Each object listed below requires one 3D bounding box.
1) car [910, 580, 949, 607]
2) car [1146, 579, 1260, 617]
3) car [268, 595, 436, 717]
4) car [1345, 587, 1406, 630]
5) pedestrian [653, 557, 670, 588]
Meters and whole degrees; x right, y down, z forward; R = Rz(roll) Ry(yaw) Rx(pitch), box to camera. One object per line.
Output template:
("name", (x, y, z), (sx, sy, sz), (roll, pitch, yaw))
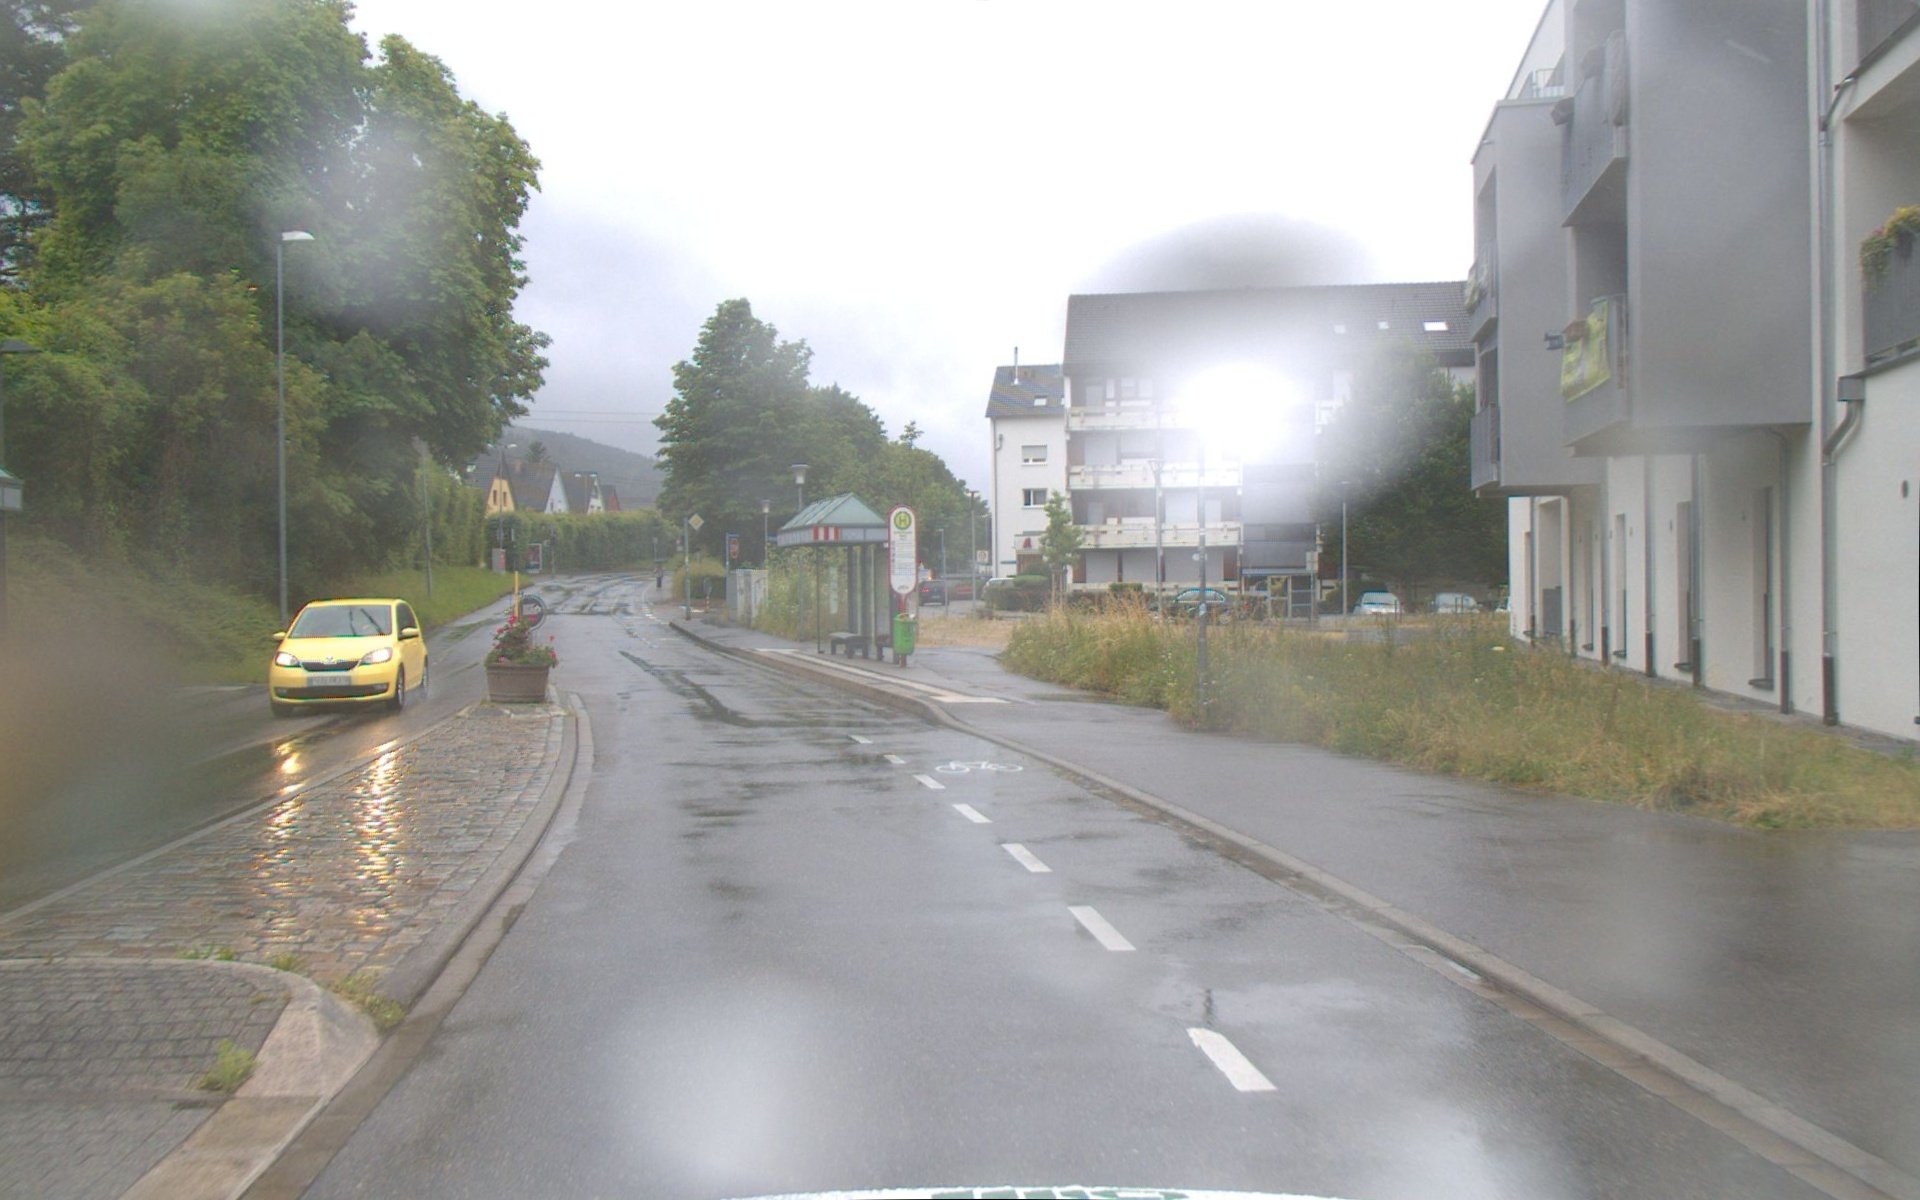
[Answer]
("car", (-1.787, -0.408, 96.229), (1.658, 1.463, 3.603), (0, 2, -11))
("car", (9.875, -0.093, 67.478), (4.503, 1.411, 1.948), (1, 1, 6))
("car", (-8.224, 0.700, 22.638), (1.544, 1.435, 3.465), (-2, 1, -11))
("car", (14.999, 0.338, 59.857), (1.679, 1.466, 3.709), (0, -1, 7))
("pedestrian", (-16.986, -1.554, 94.117), (0.903, 1.704, 1.055), (-2, 2, -10))
